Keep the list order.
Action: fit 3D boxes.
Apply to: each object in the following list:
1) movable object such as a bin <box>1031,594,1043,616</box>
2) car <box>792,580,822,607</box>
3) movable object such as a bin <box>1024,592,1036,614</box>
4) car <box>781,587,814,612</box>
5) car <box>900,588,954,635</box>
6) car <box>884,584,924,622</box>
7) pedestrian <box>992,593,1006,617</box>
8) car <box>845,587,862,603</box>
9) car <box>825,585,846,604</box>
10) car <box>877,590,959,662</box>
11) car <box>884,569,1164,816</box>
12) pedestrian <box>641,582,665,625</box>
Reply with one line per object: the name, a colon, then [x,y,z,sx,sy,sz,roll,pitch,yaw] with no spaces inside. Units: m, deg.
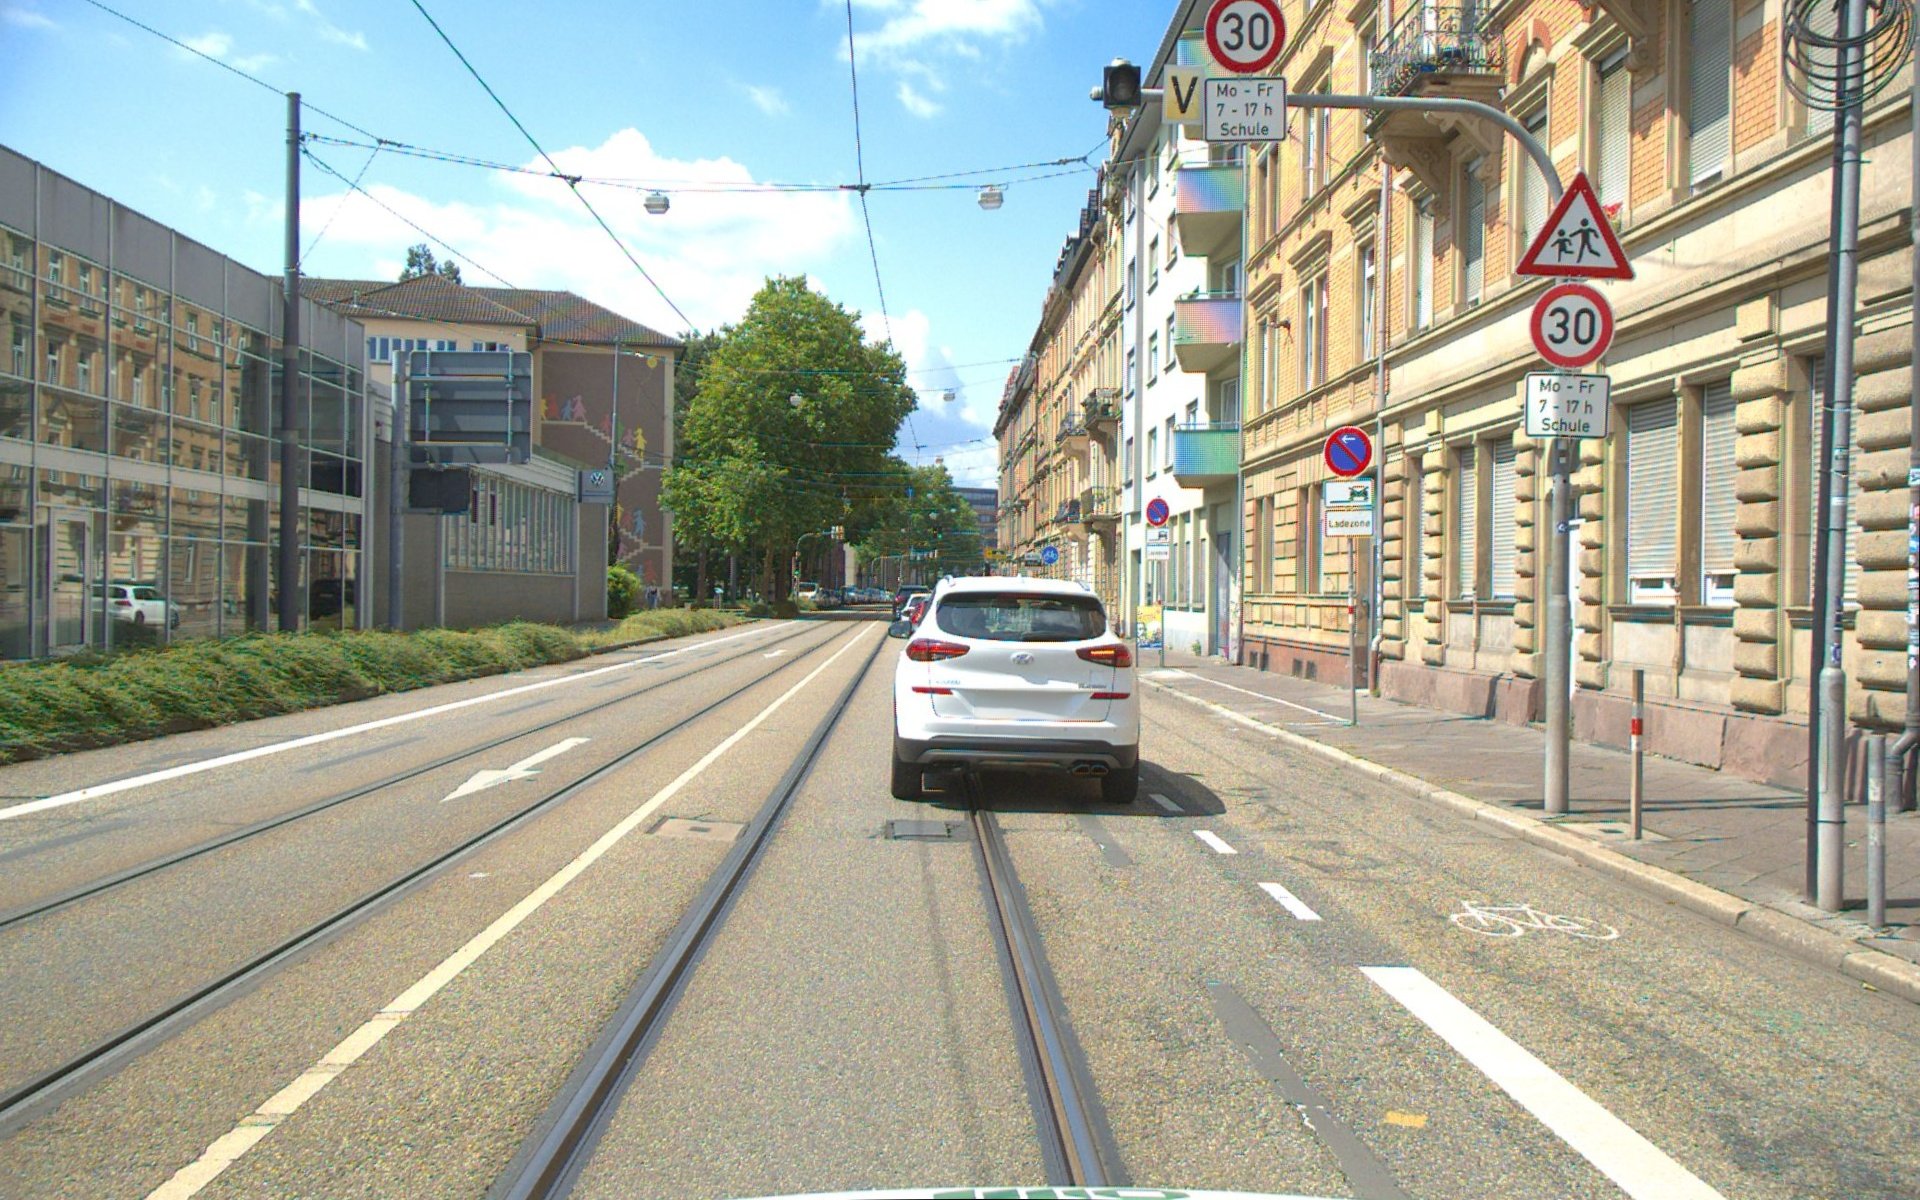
movable object such as a bin: [4.068,0.260,87.486,0.600,1.163,0.638,1,0,-2]
car: [-11.371,-0.492,122.889,1.911,1.928,4.564,1,0,-2]
movable object such as a bin: [3.772,0.157,88.908,0.600,1.163,0.638,1,0,-2]
car: [-11.435,-0.066,116.608,1.911,1.660,4.574,1,0,-2]
car: [-1.131,0.360,56.017,1.778,1.551,3.954,0,0,-1]
car: [-2.562,0.105,75.578,1.778,1.691,4.084,0,0,-2]
pedestrian: [2.650,0.307,112.391,0.919,1.600,1.049,1,0,-2]
car: [-12.079,-0.579,187.069,1.911,1.660,3.997,1,0,-4]
car: [-11.707,-0.523,155.821,1.911,1.660,3.997,1,0,-4]
car: [-0.939,0.557,38.137,1.777,1.551,4.085,0,0,-1]
car: [0.356,0.633,13.525,1.816,1.662,4.177,2,0,-4]
pedestrian: [-13.744,0.138,74.029,0.862,1.898,1.080,-1,0,-1]
